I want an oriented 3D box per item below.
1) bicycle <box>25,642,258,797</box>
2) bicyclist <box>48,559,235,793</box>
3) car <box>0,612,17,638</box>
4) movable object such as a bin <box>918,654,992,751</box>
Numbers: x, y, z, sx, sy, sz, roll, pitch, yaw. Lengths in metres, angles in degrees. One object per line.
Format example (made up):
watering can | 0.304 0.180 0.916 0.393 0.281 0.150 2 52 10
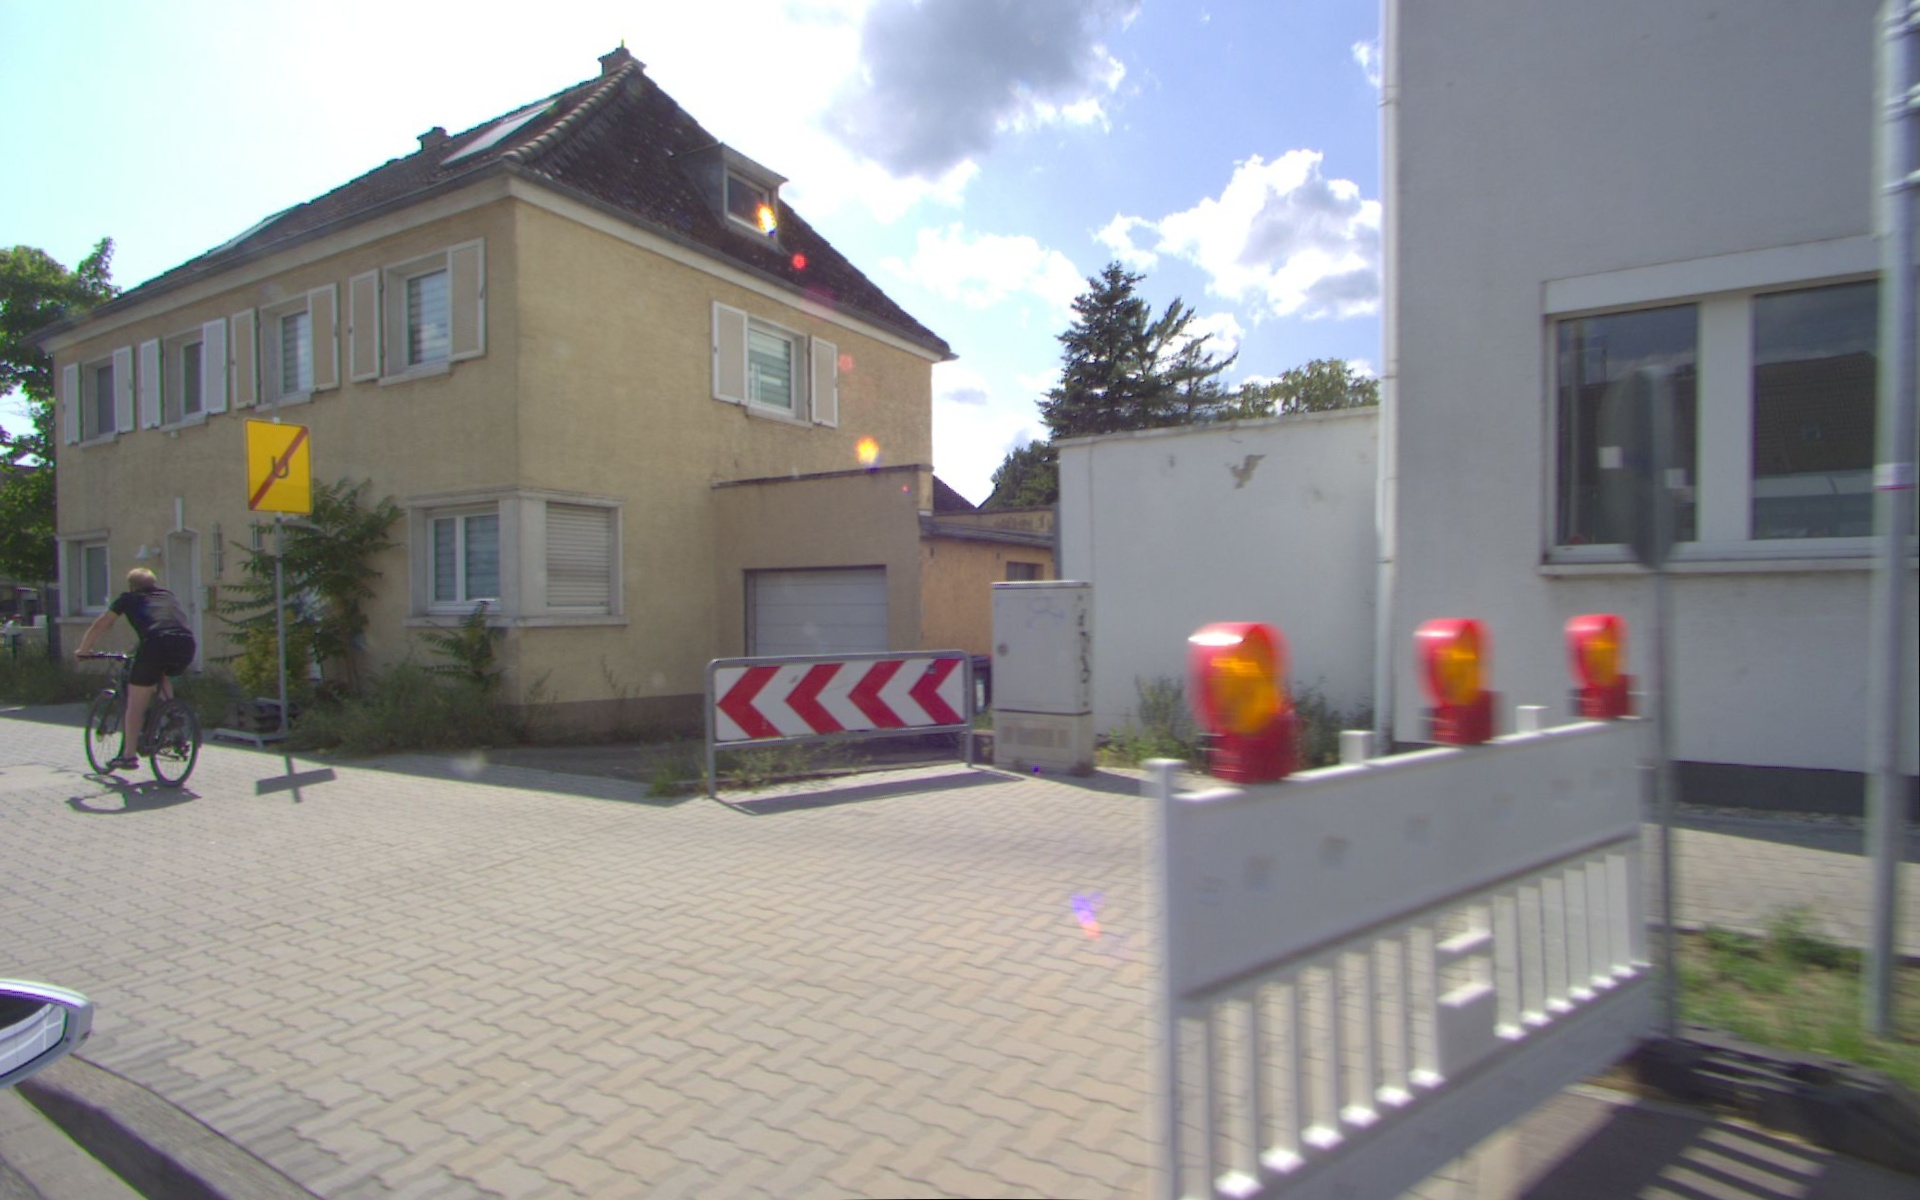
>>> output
bicycle | -6.877 0.938 8.404 1.941 1.090 0.827 0 2 29
bicyclist | -6.819 0.584 8.358 1.067 1.818 0.827 0 2 28
car | -51.485 1.334 52.634 4.073 1.368 1.864 -1 -2 33
movable object such as a bin | -0.058 1.208 12.019 0.659 1.101 0.611 -1 -2 42
